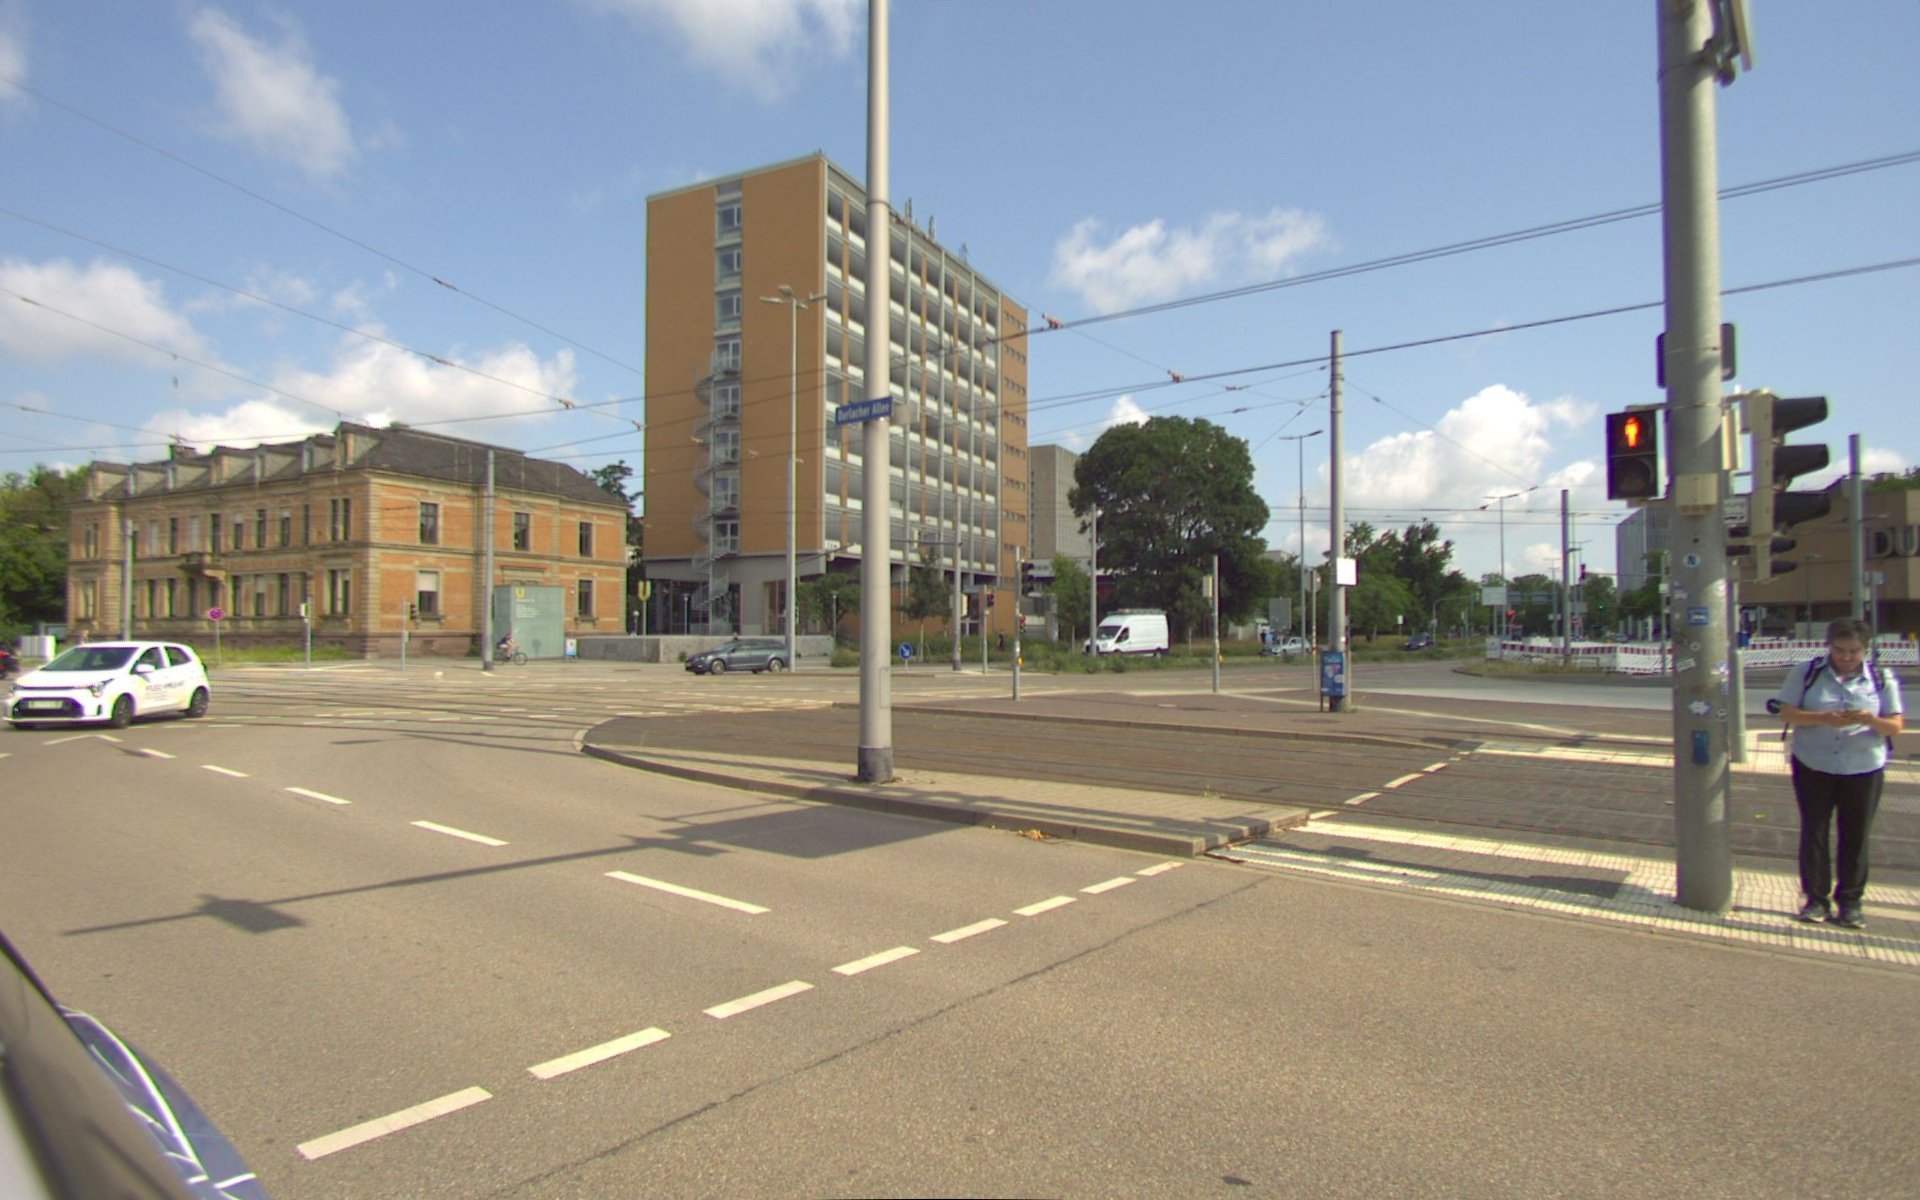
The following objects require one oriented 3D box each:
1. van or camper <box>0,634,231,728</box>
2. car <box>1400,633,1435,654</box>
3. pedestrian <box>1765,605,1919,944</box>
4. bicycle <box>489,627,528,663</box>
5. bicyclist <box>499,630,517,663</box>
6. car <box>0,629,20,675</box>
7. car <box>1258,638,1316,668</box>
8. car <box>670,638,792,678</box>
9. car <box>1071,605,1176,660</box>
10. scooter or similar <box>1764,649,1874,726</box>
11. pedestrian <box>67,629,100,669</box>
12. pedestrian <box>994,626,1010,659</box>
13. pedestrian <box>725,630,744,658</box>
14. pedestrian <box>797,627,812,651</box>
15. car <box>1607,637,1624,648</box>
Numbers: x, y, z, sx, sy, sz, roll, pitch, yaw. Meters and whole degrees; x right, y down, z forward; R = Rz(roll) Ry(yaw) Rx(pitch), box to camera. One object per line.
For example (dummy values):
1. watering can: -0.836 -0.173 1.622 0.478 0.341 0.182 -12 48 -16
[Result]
1. van or camper: -15.187 1.365 18.255 1.602 1.487 4.007 0 -2 -8
2. car: 43.063 4.079 95.224 1.871 1.603 3.614 4 3 43
3. pedestrian: 4.900 0.885 5.494 0.794 1.686 0.834 0 -2 38
4. bicycle: -22.952 2.283 51.465 1.613 1.791 0.732 0 -2 -3
5. bicyclist: -22.960 2.374 51.442 0.646 1.683 0.574 0 -2 -2
6. car: -34.784 1.783 34.320 3.931 1.465 1.720 1 1 -28
7. car: 23.200 3.748 71.783 4.075 1.785 2.004 0 3 -40
8. car: -9.378 2.336 41.567 4.473 1.290 2.004 0 3 -41
9. car: 9.062 1.785 55.696 6.054 2.901 2.489 2 -3 -42
10. scooter or similar: 16.203 1.617 19.109 1.494 1.198 1.320 4 3 41
11. pedestrian: -39.565 2.197 45.678 0.853 1.750 0.779 -1 -2 19
12. pedestrian: 2.763 2.824 67.254 0.794 2.028 0.727 2 6 -12
13. pedestrian: -12.867 2.490 57.724 0.752 1.600 0.774 1 -2 -37
14. pedestrian: -10.303 2.564 67.228 0.924 1.600 0.766 0 -2 -4
15. car: 102.653 6.622 158.462 1.996 1.581 4.725 -1 -2 35
